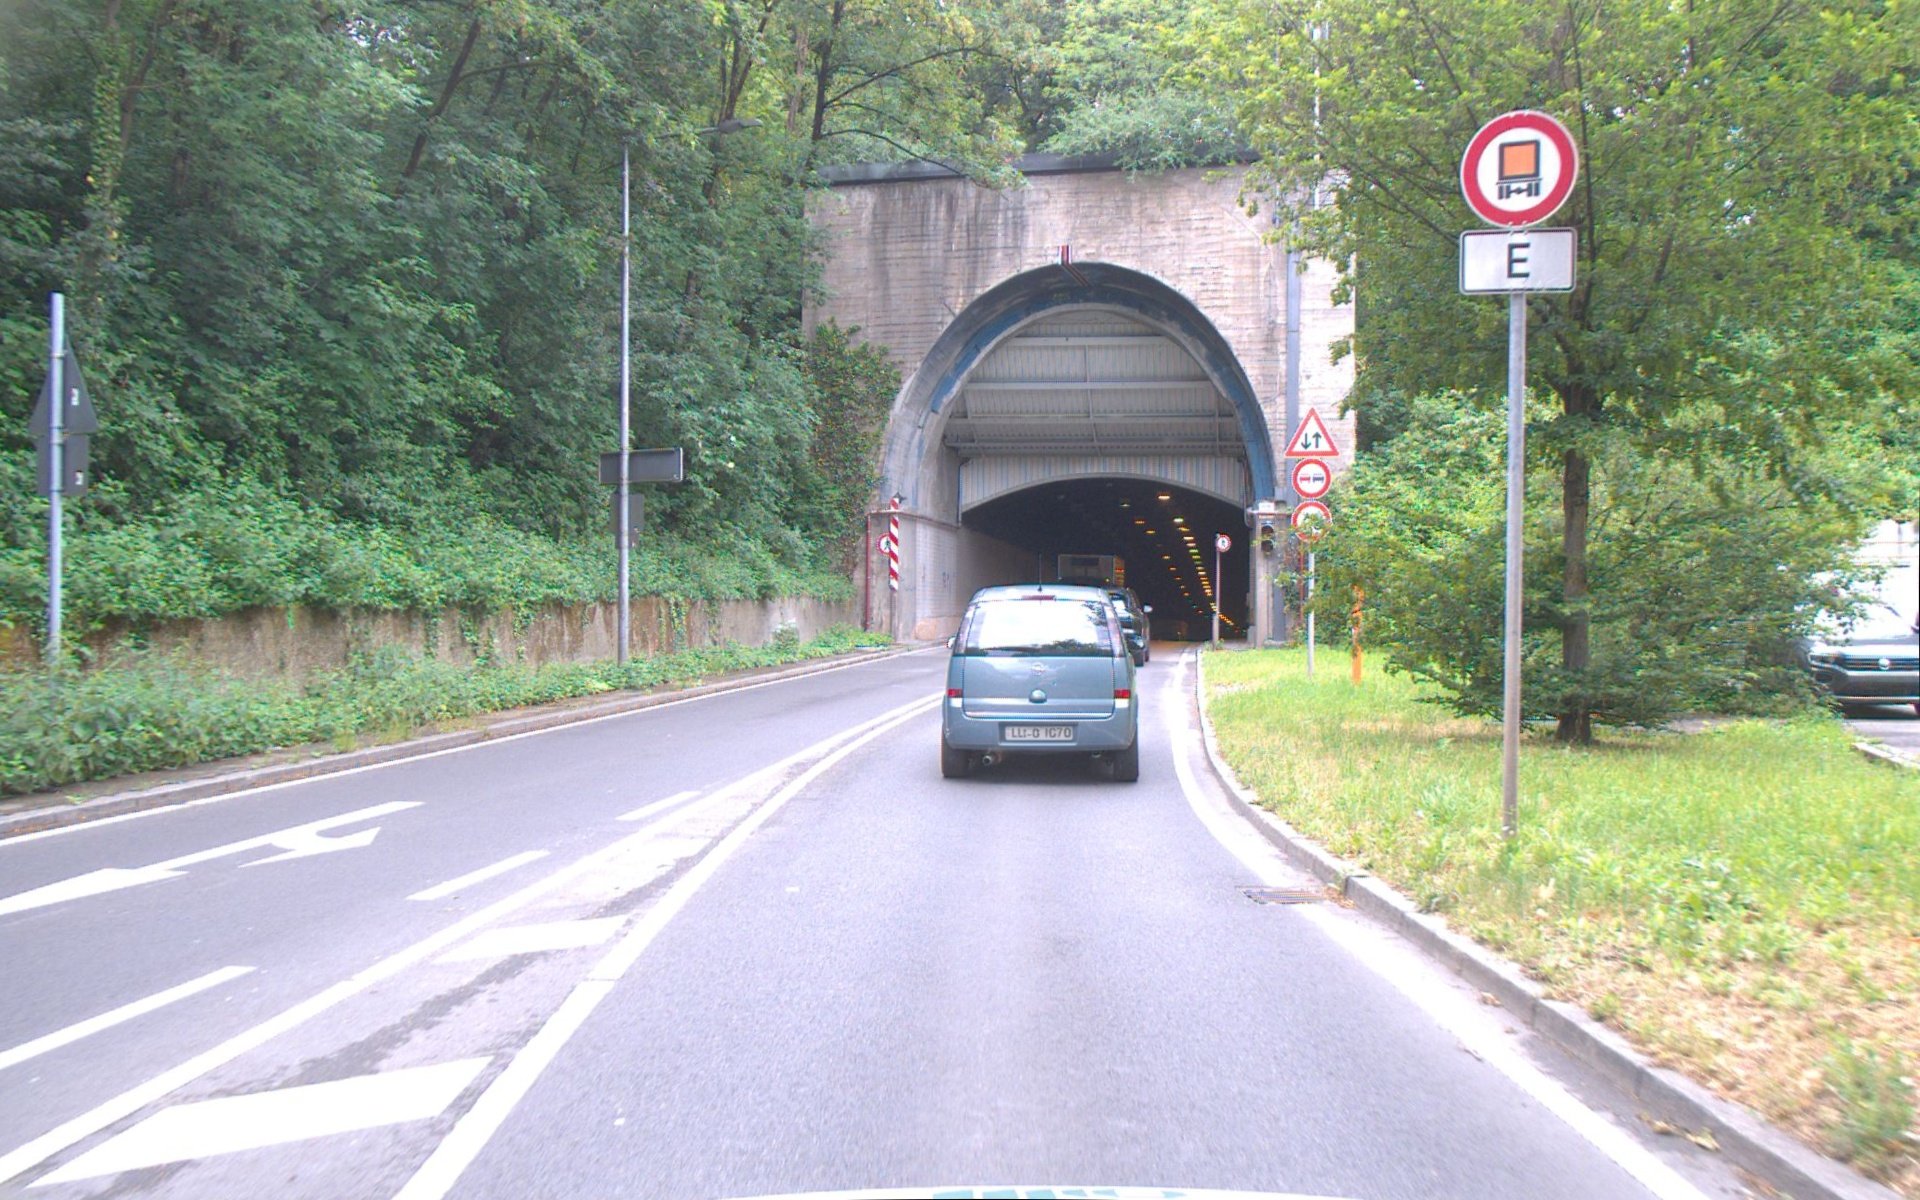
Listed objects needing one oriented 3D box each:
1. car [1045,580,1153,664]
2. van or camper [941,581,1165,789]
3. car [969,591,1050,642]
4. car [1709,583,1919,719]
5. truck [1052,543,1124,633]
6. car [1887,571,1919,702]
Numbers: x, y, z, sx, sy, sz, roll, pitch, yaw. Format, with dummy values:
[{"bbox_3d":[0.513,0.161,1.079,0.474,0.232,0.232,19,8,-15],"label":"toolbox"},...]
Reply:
[{"bbox_3d":[3.123,0.435,36.469,1.951,1.682,4.004,-1,1,11],"label":"car"},{"bbox_3d":[0.720,0.654,14.900,1.700,1.605,3.645,1,0,-1],"label":"van or camper"},{"bbox_3d":[1.527,0.464,49.550,1.828,1.395,4.460,-1,0,9],"label":"car"},{"bbox_3d":[12.288,0.647,23.337,1.770,1.695,4.888,-2,-1,8],"label":"car"},{"bbox_3d":[5.743,-0.486,73.157,2.618,3.731,7.523,1,0,9],"label":"truck"},{"bbox_3d":[14.675,0.526,22.630,1.817,1.911,4.888,0,0,8],"label":"car"}]
